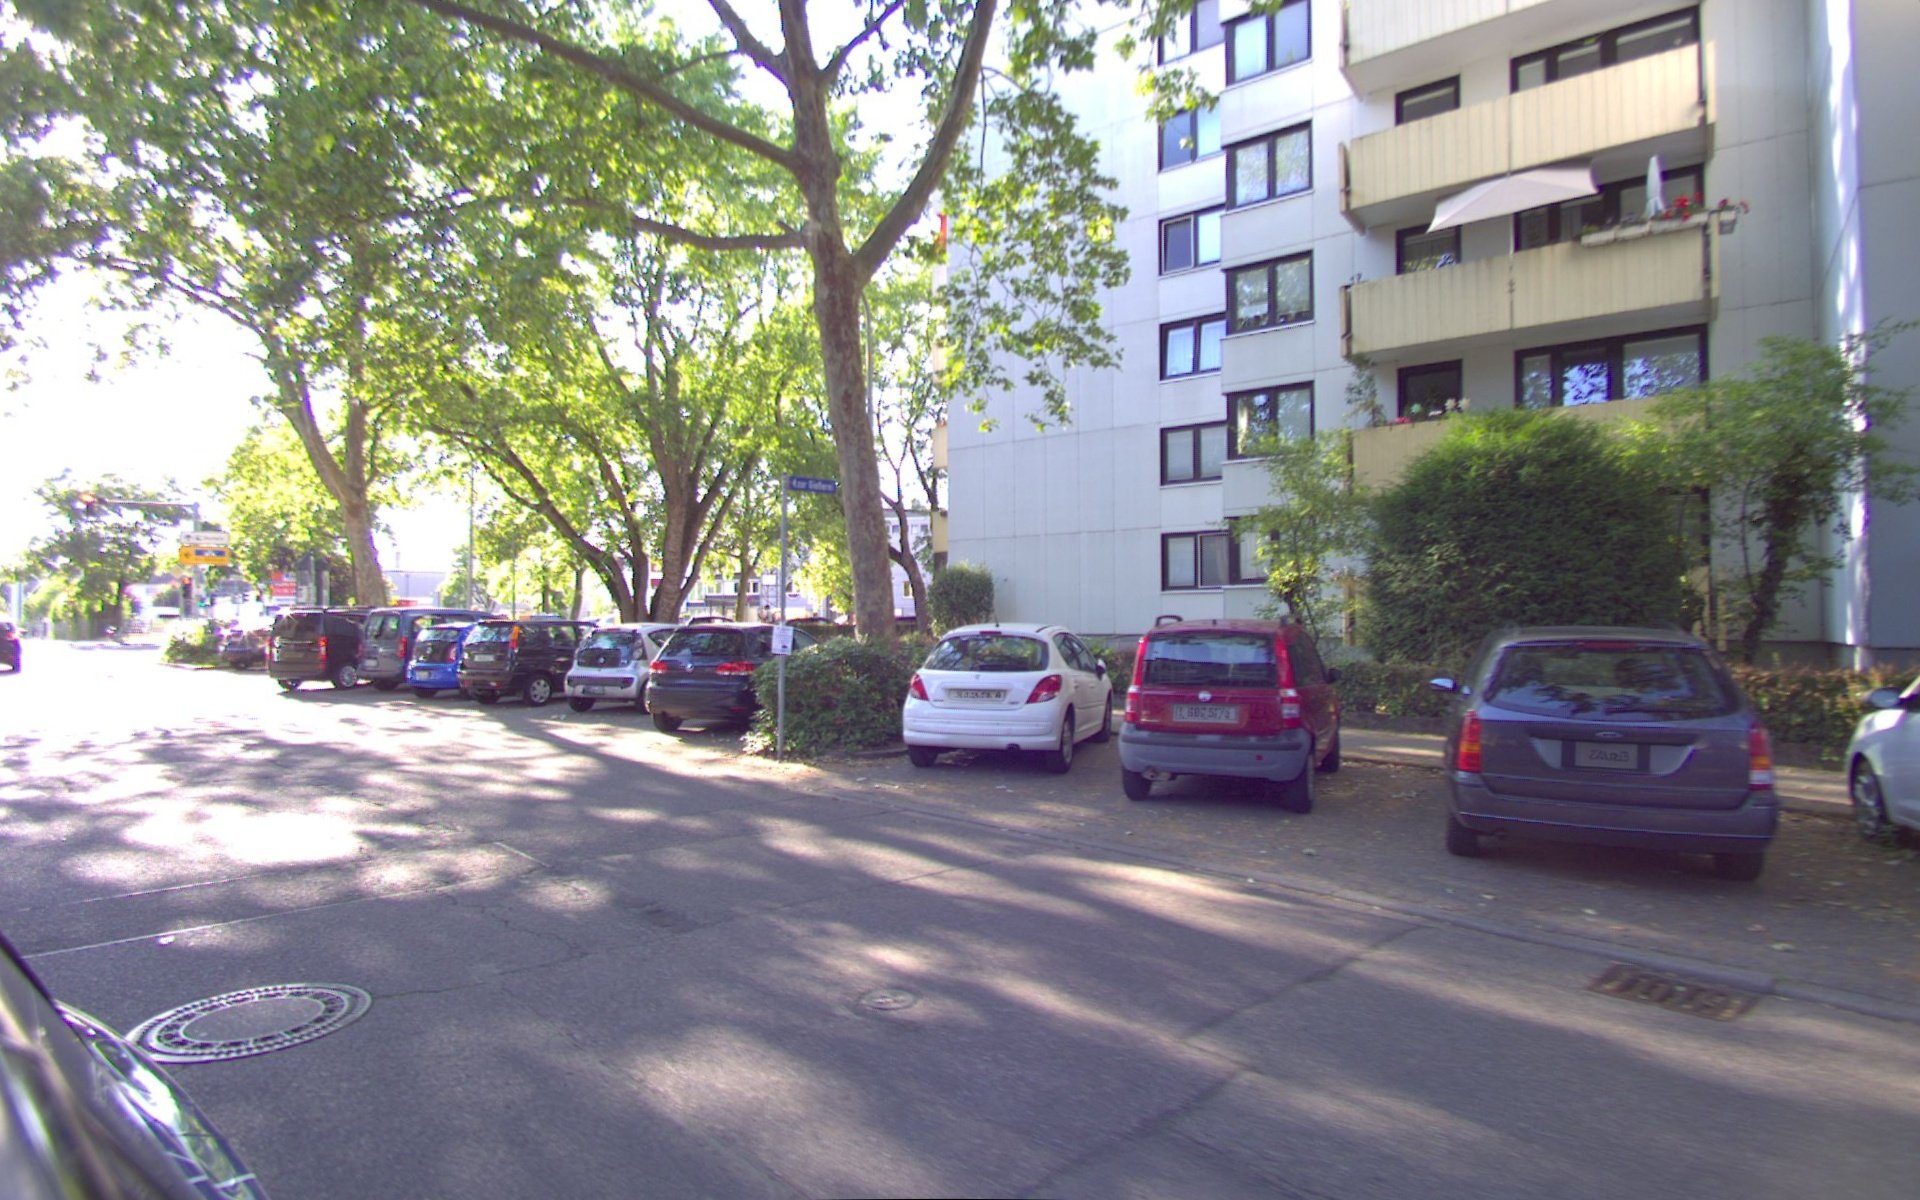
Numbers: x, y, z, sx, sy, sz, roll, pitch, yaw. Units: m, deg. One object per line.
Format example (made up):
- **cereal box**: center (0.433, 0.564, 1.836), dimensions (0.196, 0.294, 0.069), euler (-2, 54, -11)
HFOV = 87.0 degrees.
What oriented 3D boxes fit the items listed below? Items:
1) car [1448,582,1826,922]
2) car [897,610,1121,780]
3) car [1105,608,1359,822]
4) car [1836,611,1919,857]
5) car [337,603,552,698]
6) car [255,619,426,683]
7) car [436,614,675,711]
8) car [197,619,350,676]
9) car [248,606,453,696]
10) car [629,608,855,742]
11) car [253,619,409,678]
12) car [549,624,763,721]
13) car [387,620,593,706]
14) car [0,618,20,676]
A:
- **car**: center (4.302, 0.786, 6.996), dimensions (1.641, 1.674, 3.618), euler (-1, -1, 26)
- **car**: center (0.713, 0.919, 11.369), dimensions (1.694, 1.572, 3.630), euler (-1, -1, 17)
- **car**: center (2.694, 0.883, 9.446), dimensions (1.641, 1.572, 3.618), euler (-1, -1, 26)
- **car**: center (6.422, 0.785, 5.335), dimensions (1.767, 1.505, 3.629), euler (-2, -2, 26)
- **car**: center (-11.380, 1.062, 22.612), dimensions (1.825, 1.896, 3.962), euler (-1, -1, 28)
- **car**: center (-16.965, 1.344, 27.958), dimensions (1.701, 1.655, 3.981), euler (-1, -1, 15)
- **car**: center (-7.505, 1.121, 19.149), dimensions (1.790, 1.637, 3.960), euler (-1, -2, 29)
- **car**: center (-21.320, 1.438, 31.649), dimensions (1.698, 1.655, 3.988), euler (0, -1, 9)
- **car**: center (-14.009, 1.120, 23.542), dimensions (1.703, 1.901, 3.977), euler (-1, -1, 17)
- **car**: center (-2.999, 0.984, 14.672), dimensions (1.636, 1.674, 3.629), euler (-1, -1, 18)
- **car**: center (-18.736, 1.389, 30.365), dimensions (1.699, 1.655, 3.984), euler (0, -1, 12)
- **car**: center (-5.177, 1.171, 17.696), dimensions (1.695, 1.472, 3.622), euler (-1, -1, 23)
- **car**: center (-9.413, 1.203, 20.536), dimensions (1.641, 1.572, 3.568), euler (-1, -1, 26)
- **car**: center (-29.020, 1.352, 29.674), dimensions (4.001, 1.655, 1.938), euler (-1, -2, 44)
